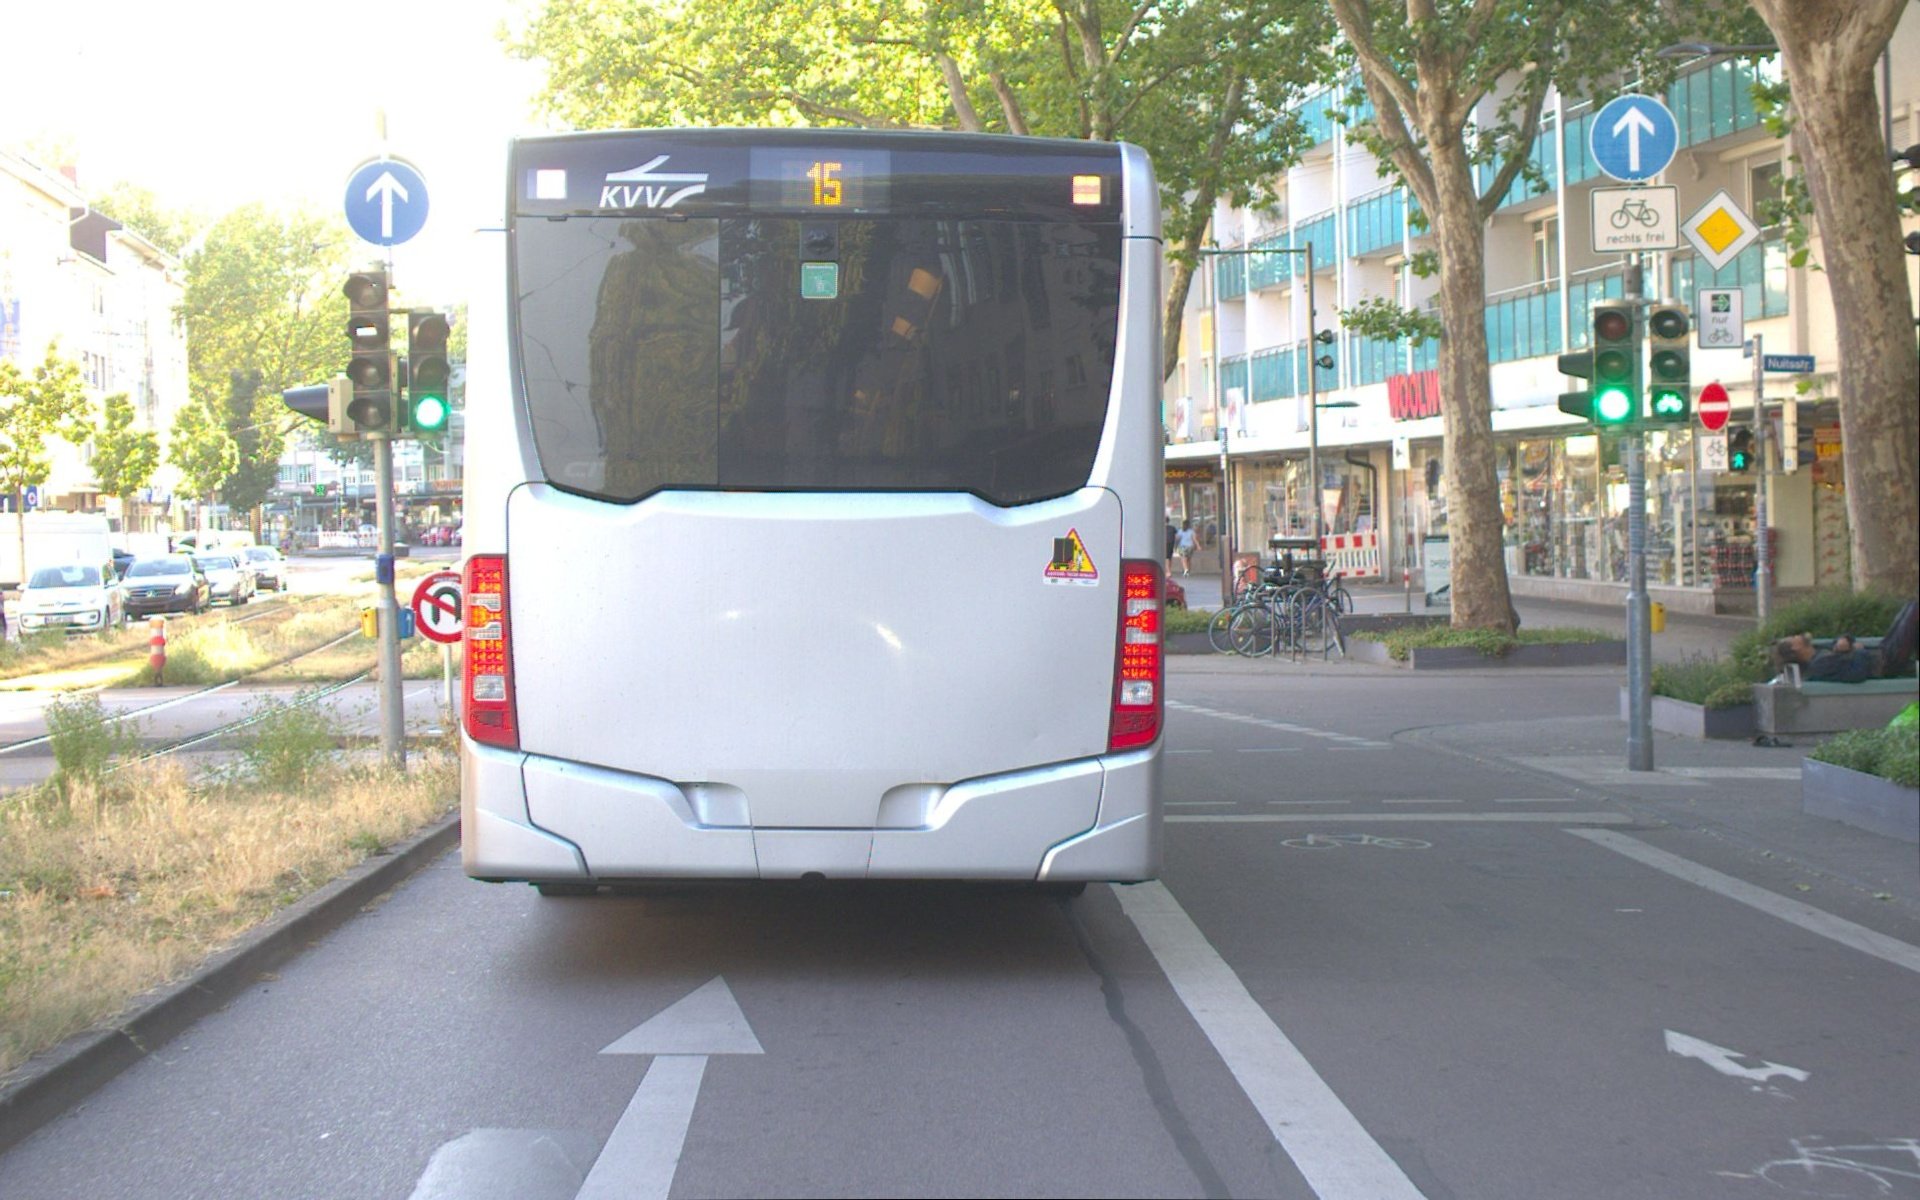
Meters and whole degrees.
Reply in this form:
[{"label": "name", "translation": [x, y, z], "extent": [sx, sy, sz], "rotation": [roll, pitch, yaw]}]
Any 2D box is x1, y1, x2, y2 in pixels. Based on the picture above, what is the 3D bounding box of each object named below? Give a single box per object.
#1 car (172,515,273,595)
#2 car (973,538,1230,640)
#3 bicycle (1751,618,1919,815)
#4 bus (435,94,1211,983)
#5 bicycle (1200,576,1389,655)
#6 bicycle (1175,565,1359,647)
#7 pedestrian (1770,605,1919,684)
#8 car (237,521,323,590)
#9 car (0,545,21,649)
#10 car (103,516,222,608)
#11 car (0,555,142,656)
[{"label": "car", "translation": [-19.335, -1.184, 90.273], "extent": [1.993, 2.007, 4.001], "rotation": [-1, 1, -4]}, {"label": "car", "translation": [2.293, -0.187, 54.973], "extent": [1.998, 1.525, 3.990], "rotation": [0, 1, 42]}, {"label": "bicycle", "translation": [5.484, 0.693, 20.233], "extent": [1.509, 1.101, 0.460], "rotation": [2, 1, 0]}, {"label": "bus", "translation": [-0.472, -0.286, 15.452], "extent": [2.678, 3.073, 7.114], "rotation": [0, 1, 0]}, {"label": "bicycle", "translation": [4.357, 0.193, 44.874], "extent": [2.309, 0.936, 0.837], "rotation": [-1, 2, -9]}, {"label": "bicycle", "translation": [4.108, 0.075, 46.077], "extent": [2.309, 1.025, 0.837], "rotation": [-1, 2, -9]}, {"label": "pedestrian", "translation": [6.897, 0.339, 26.360], "extent": [1.254, 0.587, 0.482], "rotation": [0, 1, -2]}, {"label": "car", "translation": [-20.642, -1.361, 104.475], "extent": [1.993, 2.007, 4.001], "rotation": [-1, 1, -4]}, {"label": "car", "translation": [-15.889, -0.004, 52.466], "extent": [1.780, 1.609, 4.508], "rotation": [-1, 1, 1]}, {"label": "car", "translation": [-18.211, -0.882, 78.672], "extent": [1.993, 2.007, 4.001], "rotation": [-1, 1, -4]}, {"label": "car", "translation": [-16.782, 0.075, 64.917], "extent": [1.897, 1.798, 4.001], "rotation": [-1, 1, -4]}]
